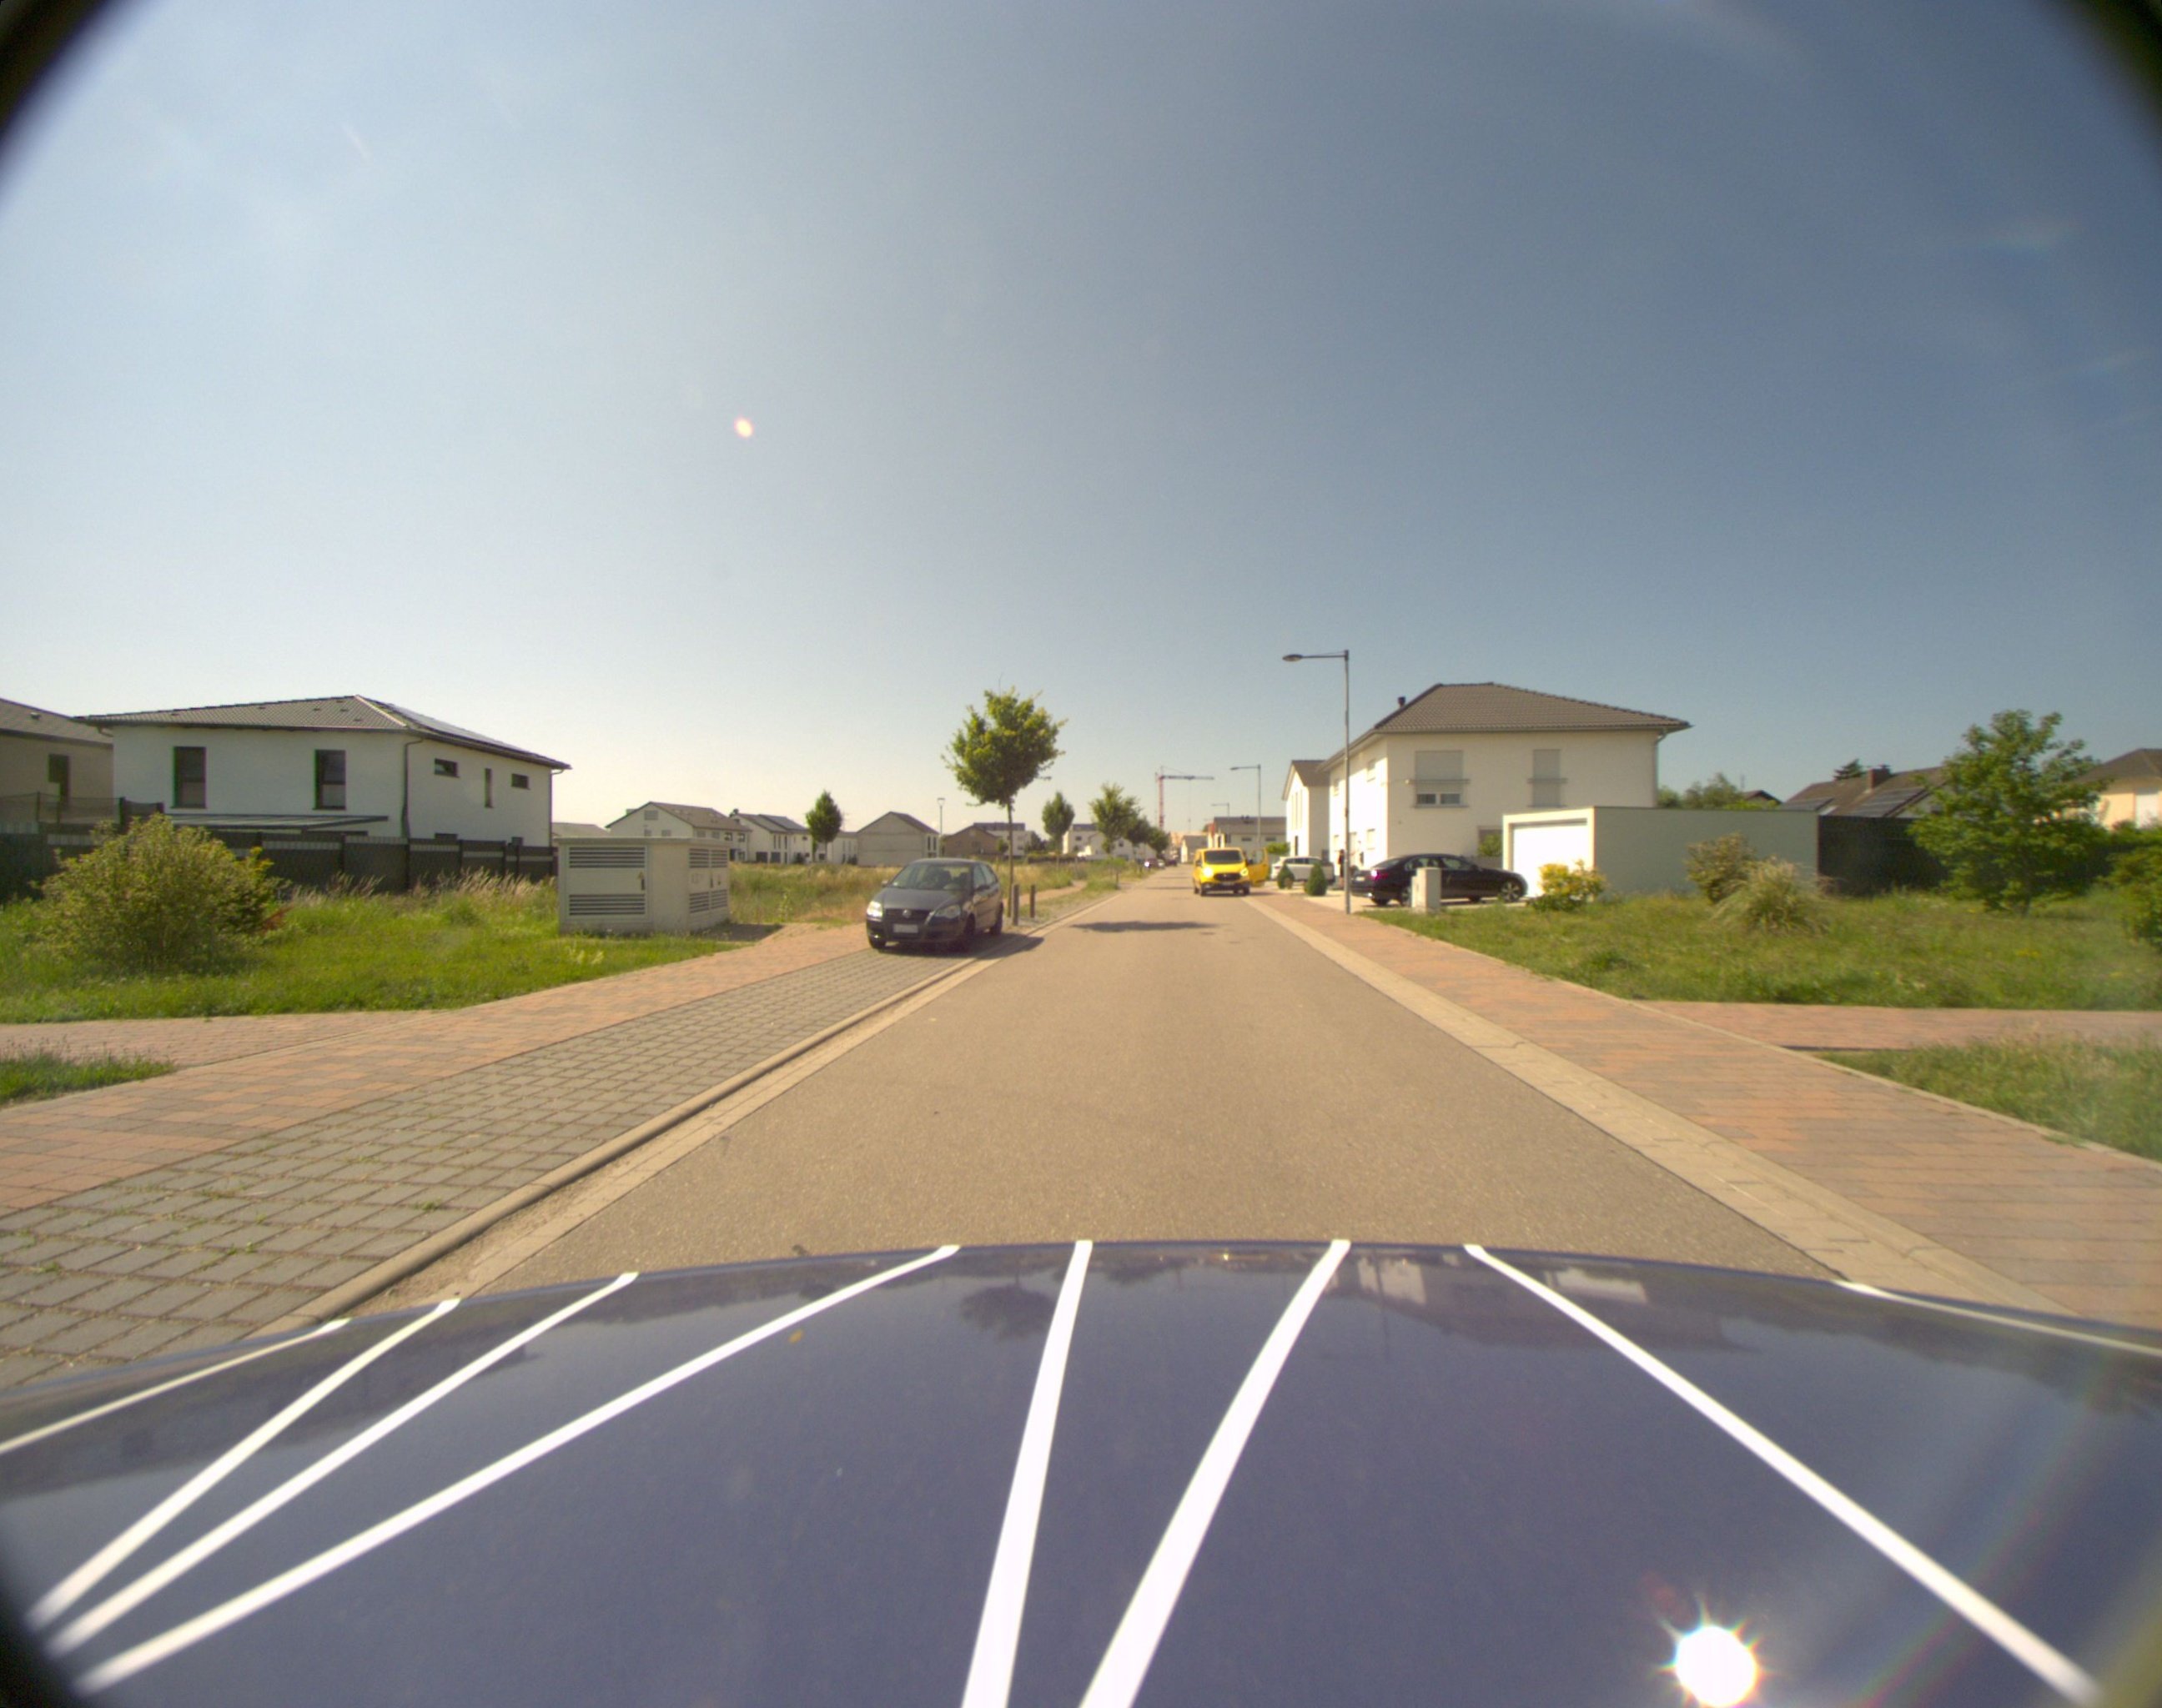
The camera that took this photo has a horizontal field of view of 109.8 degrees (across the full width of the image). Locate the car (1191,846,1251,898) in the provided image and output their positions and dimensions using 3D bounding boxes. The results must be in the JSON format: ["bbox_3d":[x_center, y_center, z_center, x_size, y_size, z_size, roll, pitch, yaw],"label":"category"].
[{"bbox_3d":[5.849,0.698,32.230,1.888,2.002,4.842,-1,0,3],"label":"car"}]

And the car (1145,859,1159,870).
[{"bbox_3d":[9.771,1.401,104.184,1.768,1.483,4.002,0,0,7],"label":"car"}]

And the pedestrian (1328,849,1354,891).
[{"bbox_3d":[10.621,0.655,31.051,0.931,1.675,0.538,-3,0,17],"label":"pedestrian"}]

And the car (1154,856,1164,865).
[{"bbox_3d":[12.641,1.101,122.927,1.492,1.389,3.274,0,0,7],"label":"car"}]

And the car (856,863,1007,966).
[{"bbox_3d":[-2.440,0.935,13.290,1.602,1.466,3.676,2,0,5],"label":"car"}]

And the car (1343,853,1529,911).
[{"bbox_3d":[9.809,0.747,21.189,4.406,1.444,1.748,-1,0,-6],"label":"car"}]

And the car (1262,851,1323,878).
[{"bbox_3d":[15.144,0.739,54.651,3.994,1.841,2.001,0,0,8],"label":"car"}]
